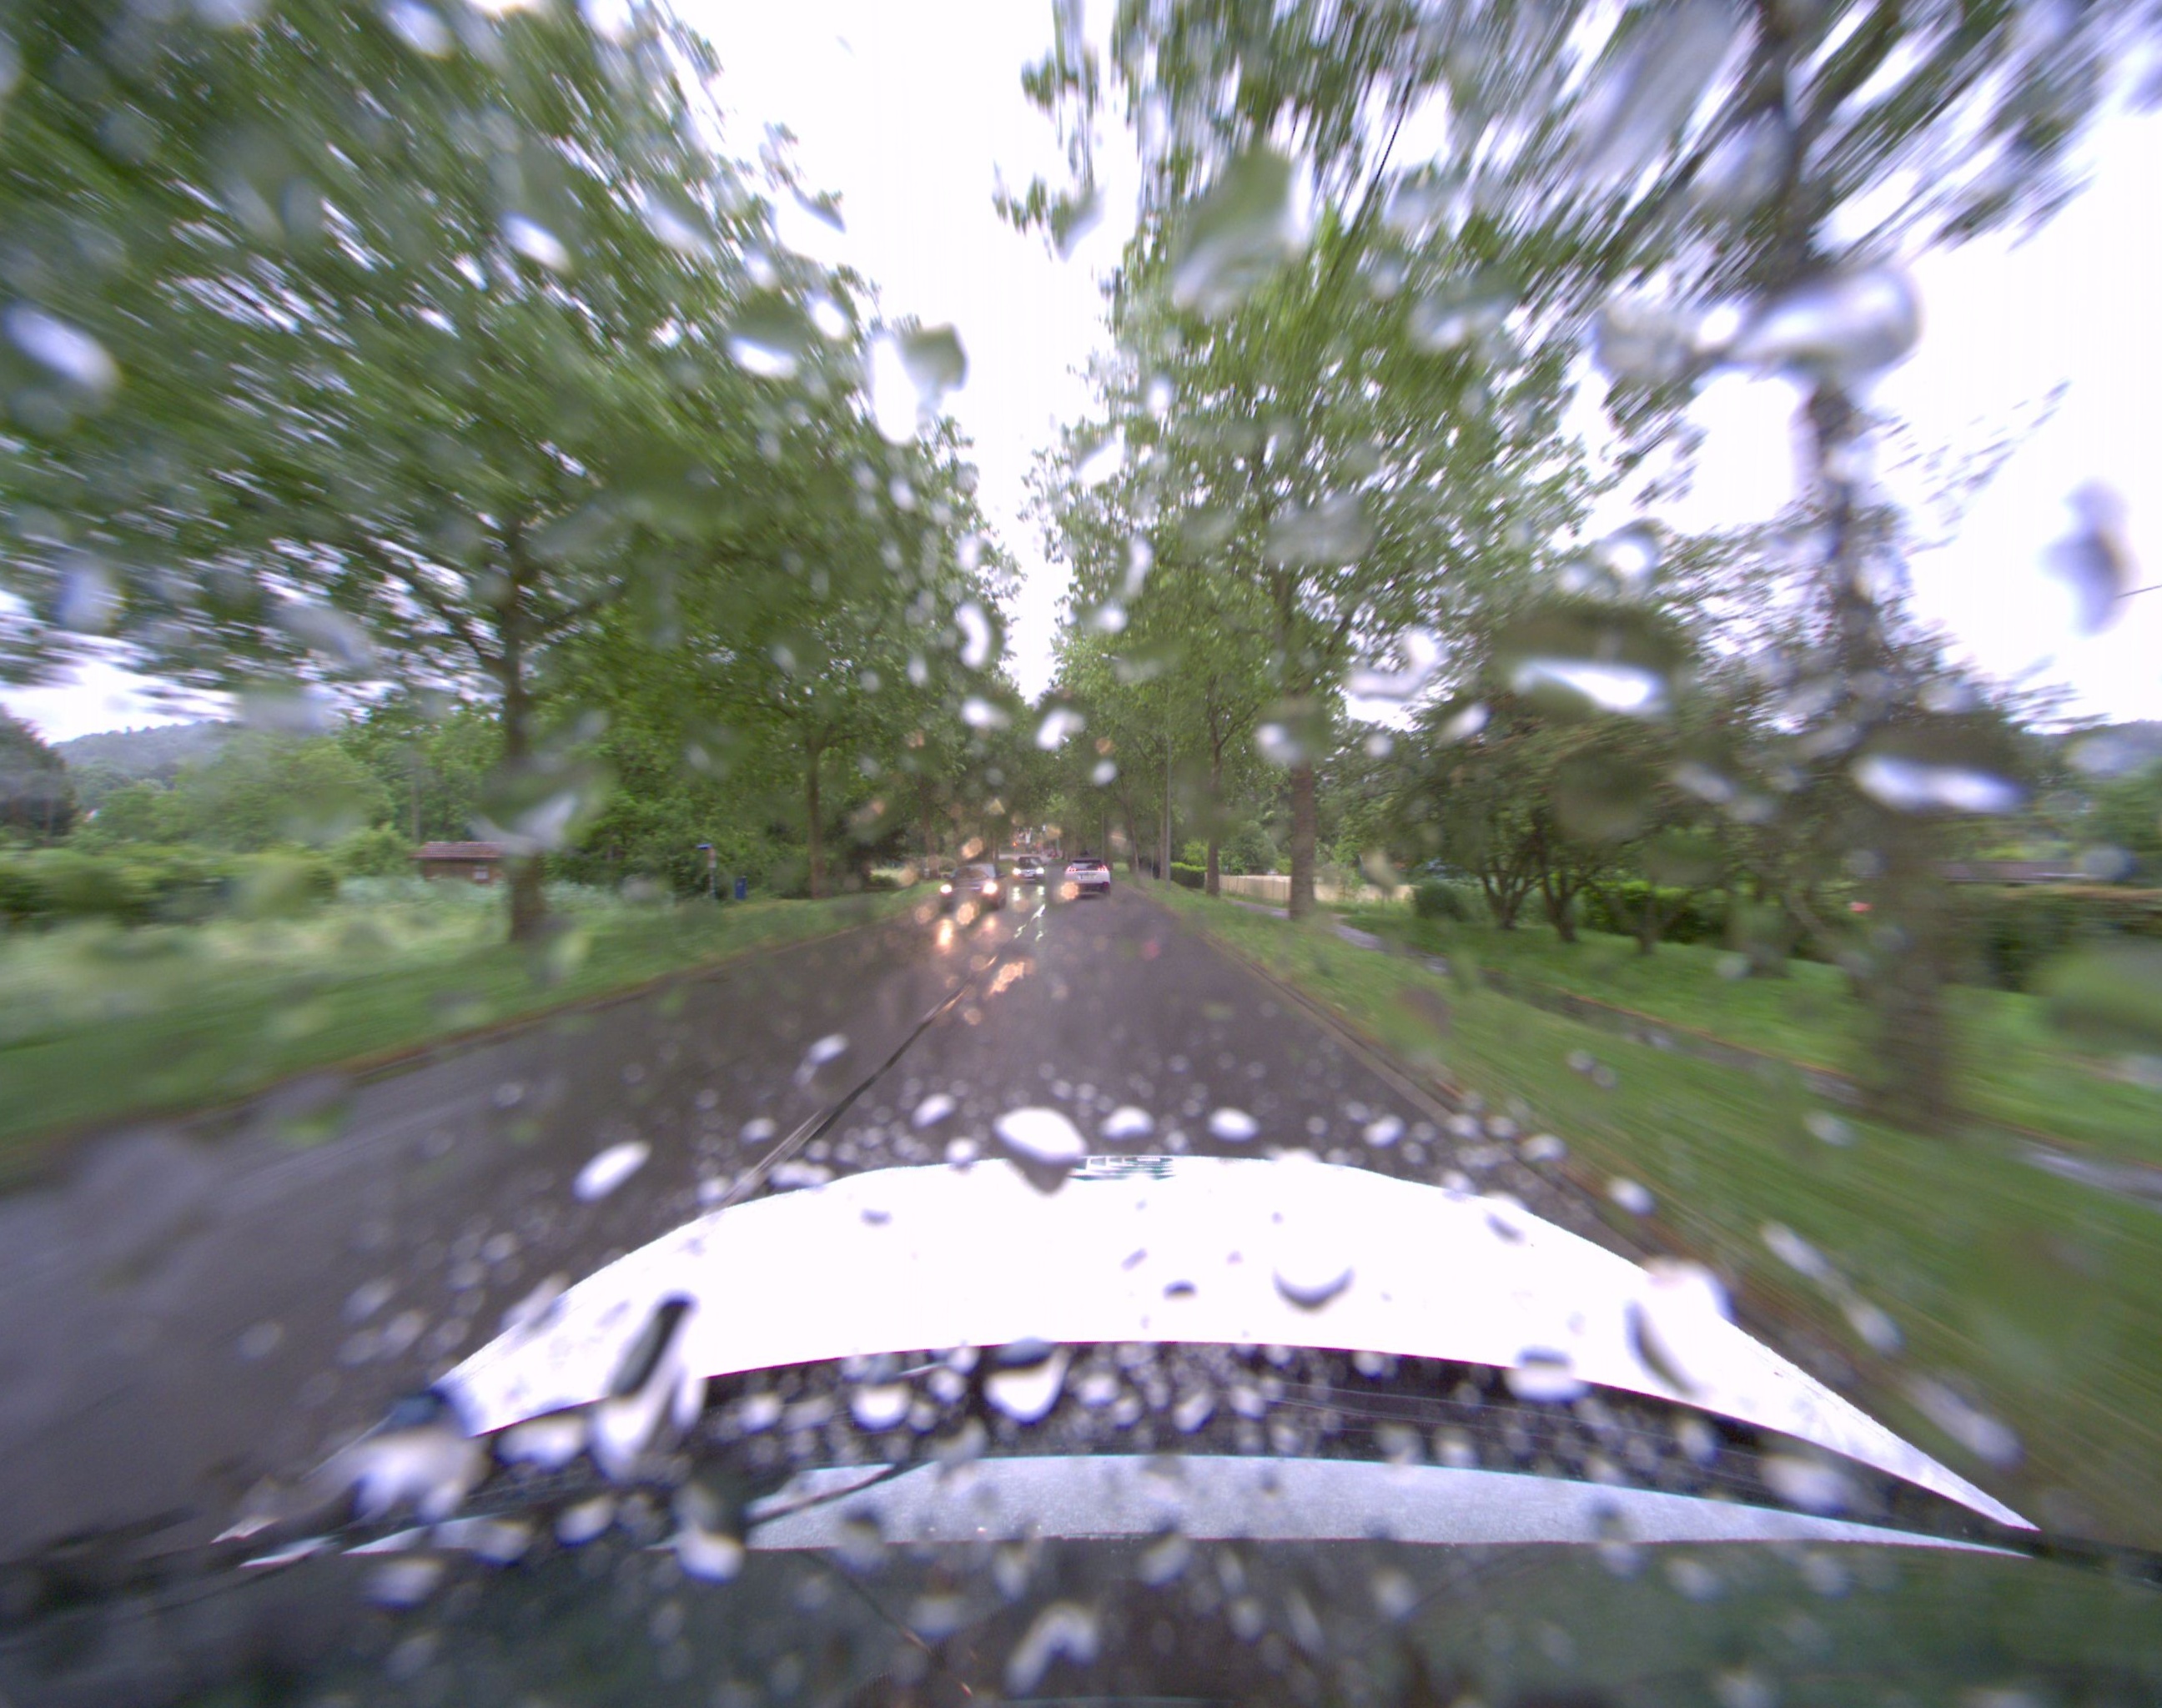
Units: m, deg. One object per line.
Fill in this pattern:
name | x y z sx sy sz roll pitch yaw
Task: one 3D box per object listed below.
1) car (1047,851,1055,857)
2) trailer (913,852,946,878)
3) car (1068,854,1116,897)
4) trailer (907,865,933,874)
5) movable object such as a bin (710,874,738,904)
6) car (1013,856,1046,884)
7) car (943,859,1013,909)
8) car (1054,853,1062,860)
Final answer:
car | -7.988 -0.062 218.028 1.821 1.596 3.653 0 0 0
trailer | -15.068 1.061 81.260 2.478 2.567 5.328 0 0 -2
car | 0.444 0.796 32.334 1.788 1.578 3.844 0 0 0
trailer | -23.082 2.206 116.998 3.553 1.178 1.817 -1 0 -10
movable object such as a bin | -17.460 1.713 39.829 0.960 1.422 0.965 0 0 -2
car | -3.119 0.936 49.754 1.725 1.588 4.310 0 0 0
car | -3.218 0.881 26.041 1.726 1.423 4.223 -1 0 -1
car | -5.946 0.664 208.463 1.821 1.596 3.653 0 0 0
